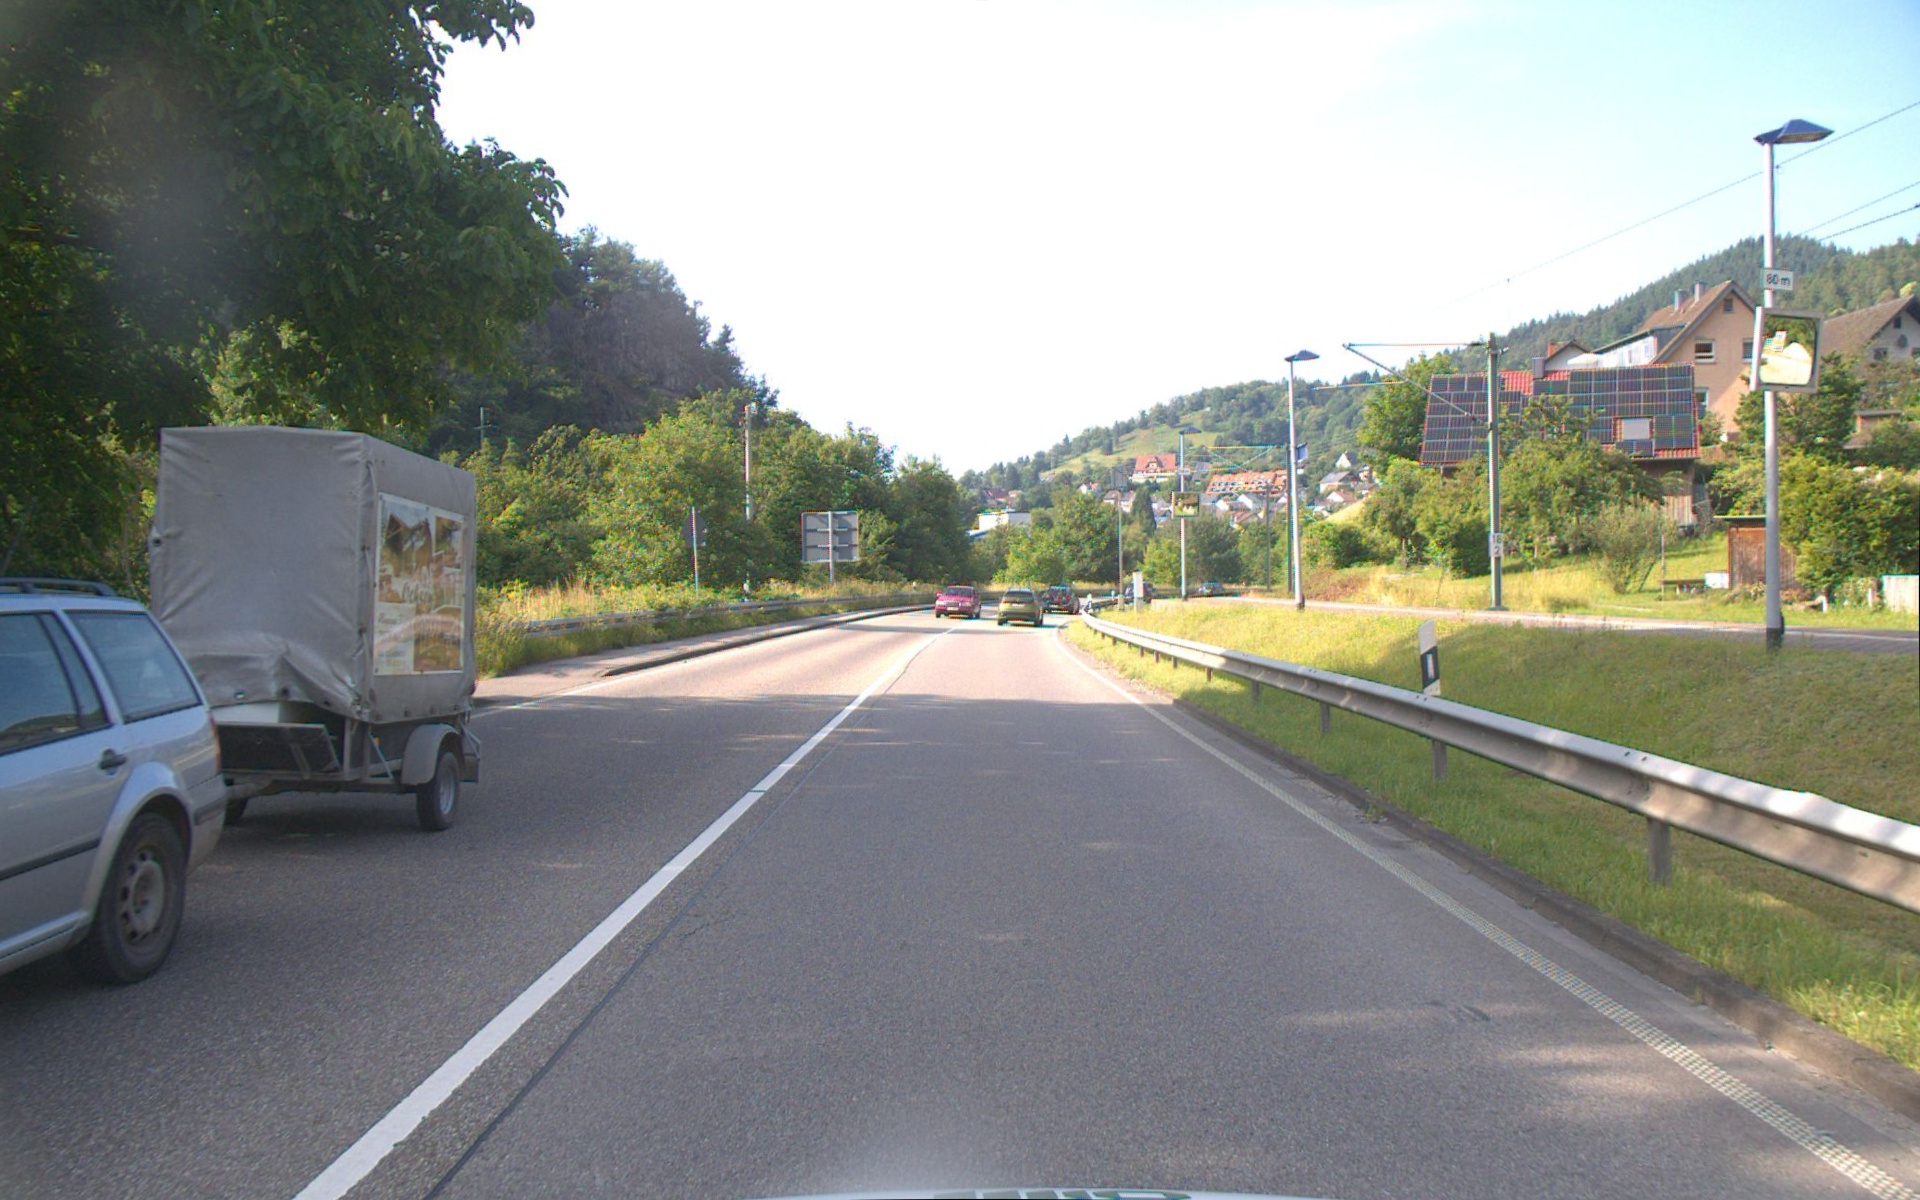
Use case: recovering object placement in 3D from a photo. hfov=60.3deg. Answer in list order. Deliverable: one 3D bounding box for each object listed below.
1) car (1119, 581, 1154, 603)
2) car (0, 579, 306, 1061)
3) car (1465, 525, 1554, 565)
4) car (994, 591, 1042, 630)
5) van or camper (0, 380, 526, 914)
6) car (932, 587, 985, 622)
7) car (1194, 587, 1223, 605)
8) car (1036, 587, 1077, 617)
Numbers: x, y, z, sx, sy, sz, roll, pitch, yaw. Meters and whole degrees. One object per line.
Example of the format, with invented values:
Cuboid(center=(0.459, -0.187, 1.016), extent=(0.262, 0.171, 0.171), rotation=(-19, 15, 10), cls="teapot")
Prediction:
Cuboid(center=(12.768, -0.574, 119.633), extent=(1.769, 1.478, 3.649), rotation=(-2, 0, 19), cls="car")
Cuboid(center=(-3.755, 0.671, 5.106), extent=(1.614, 1.461, 4.605), rotation=(1, 0, 0), cls="car")
Cuboid(center=(26.166, -2.615, 78.882), extent=(3.902, 1.713, 2.001), rotation=(-2, 0, 16), cls="car")
Cuboid(center=(2.399, 0.410, 67.701), extent=(1.692, 1.482, 3.413), rotation=(-2, 0, 6), cls="car")
Cuboid(center=(-3.838, 0.191, 9.479), extent=(1.570, 2.369, 4.059), rotation=(2, 0, 0), cls="van or camper")
Cuboid(center=(-0.036, 0.174, 75.081), extent=(1.803, 1.495, 4.947), rotation=(2, 1, 6), cls="car")
Cuboid(center=(21.467, -0.379, 142.874), extent=(1.771, 1.433, 3.775), rotation=(-2, 0, 19), cls="car")
Cuboid(center=(5.269, 0.094, 89.735), extent=(1.801, 1.485, 3.716), rotation=(-2, 0, 9), cls="car")
